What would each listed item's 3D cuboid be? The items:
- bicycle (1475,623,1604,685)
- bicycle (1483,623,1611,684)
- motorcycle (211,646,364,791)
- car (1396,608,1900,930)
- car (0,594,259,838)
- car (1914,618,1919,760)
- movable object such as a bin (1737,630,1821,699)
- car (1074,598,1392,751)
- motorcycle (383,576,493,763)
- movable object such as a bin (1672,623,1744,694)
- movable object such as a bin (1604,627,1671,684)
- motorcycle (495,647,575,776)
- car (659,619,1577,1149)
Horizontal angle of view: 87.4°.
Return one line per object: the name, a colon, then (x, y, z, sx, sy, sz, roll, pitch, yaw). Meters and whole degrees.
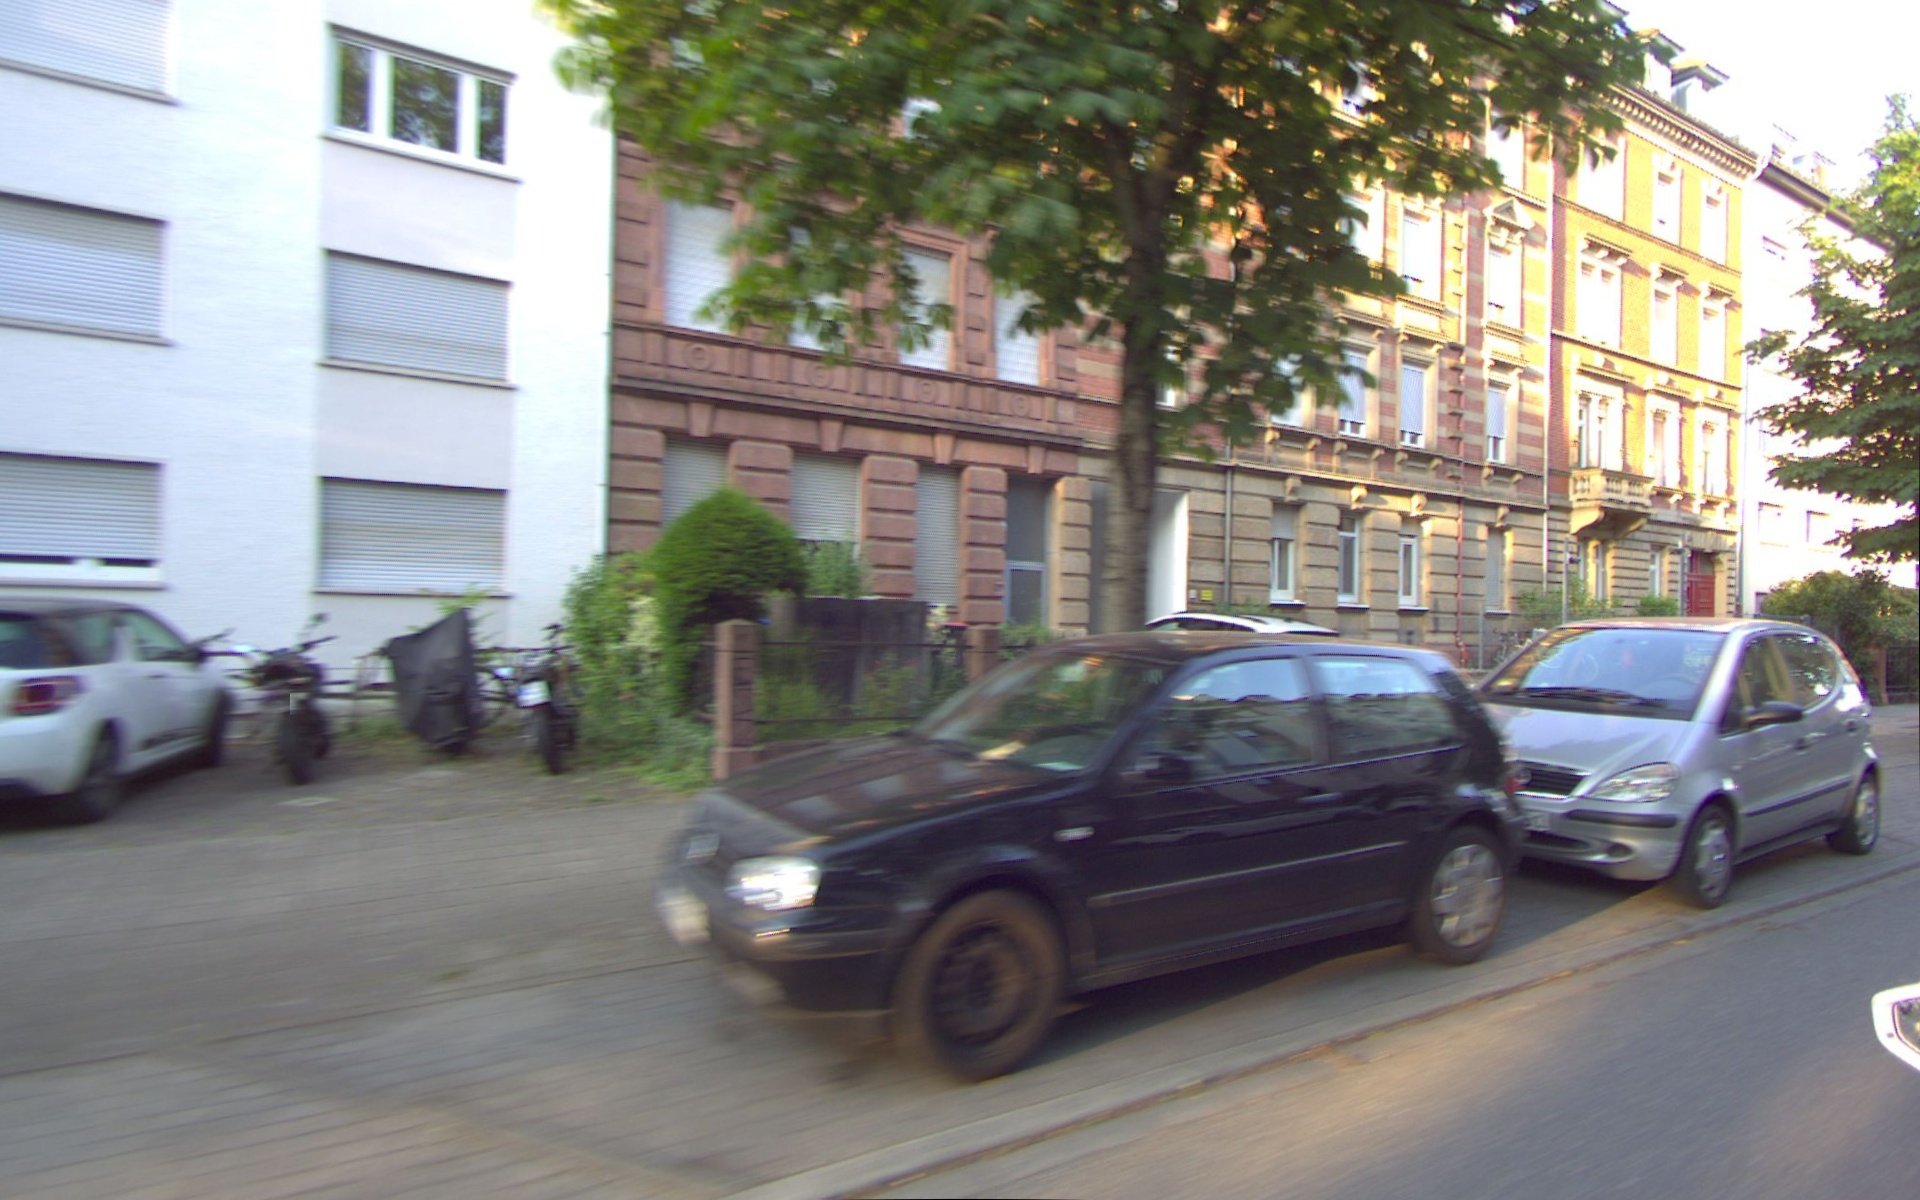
bicycle: (13.494, 1.230, 23.485, 0.638, 1.208, 2.507, 0, 2, -40)
bicycle: (13.882, 1.234, 23.831, 0.638, 1.208, 2.507, 0, 2, -40)
motorcycle: (-5.712, 0.942, 8.667, 0.578, 0.971, 2.232, 1, 0, -21)
car: (4.767, 0.906, 6.822, 3.705, 1.624, 1.586, 1, -1, -34)
car: (-6.830, 0.700, 7.510, 1.790, 1.466, 3.557, 0, 0, -21)
car: (14.122, 1.144, 12.684, 4.376, 1.740, 1.912, 1, -1, -31)
movable object such as a bin: (17.207, 1.329, 21.117, 0.991, 1.339, 1.009, 1, 2, -25)
car: (3.469, 0.861, 13.537, 1.690, 1.548, 4.071, 2, 2, -31)
motorcycle: (-5.294, 0.637, 10.339, 0.665, 1.660, 2.847, 1, -1, -21)
movable object such as a bin: (16.461, 1.266, 22.103, 0.998, 1.433, 1.086, 0, 2, -44)
movable object such as a bin: (15.970, 1.290, 23.685, 0.998, 1.225, 1.086, 0, 2, -44)
motorcycle: (-3.932, 0.970, 9.406, 0.578, 0.971, 2.232, 1, -1, -21)
car: (0.811, 0.869, 4.521, 3.912, 1.490, 1.610, 1, -1, -28)
